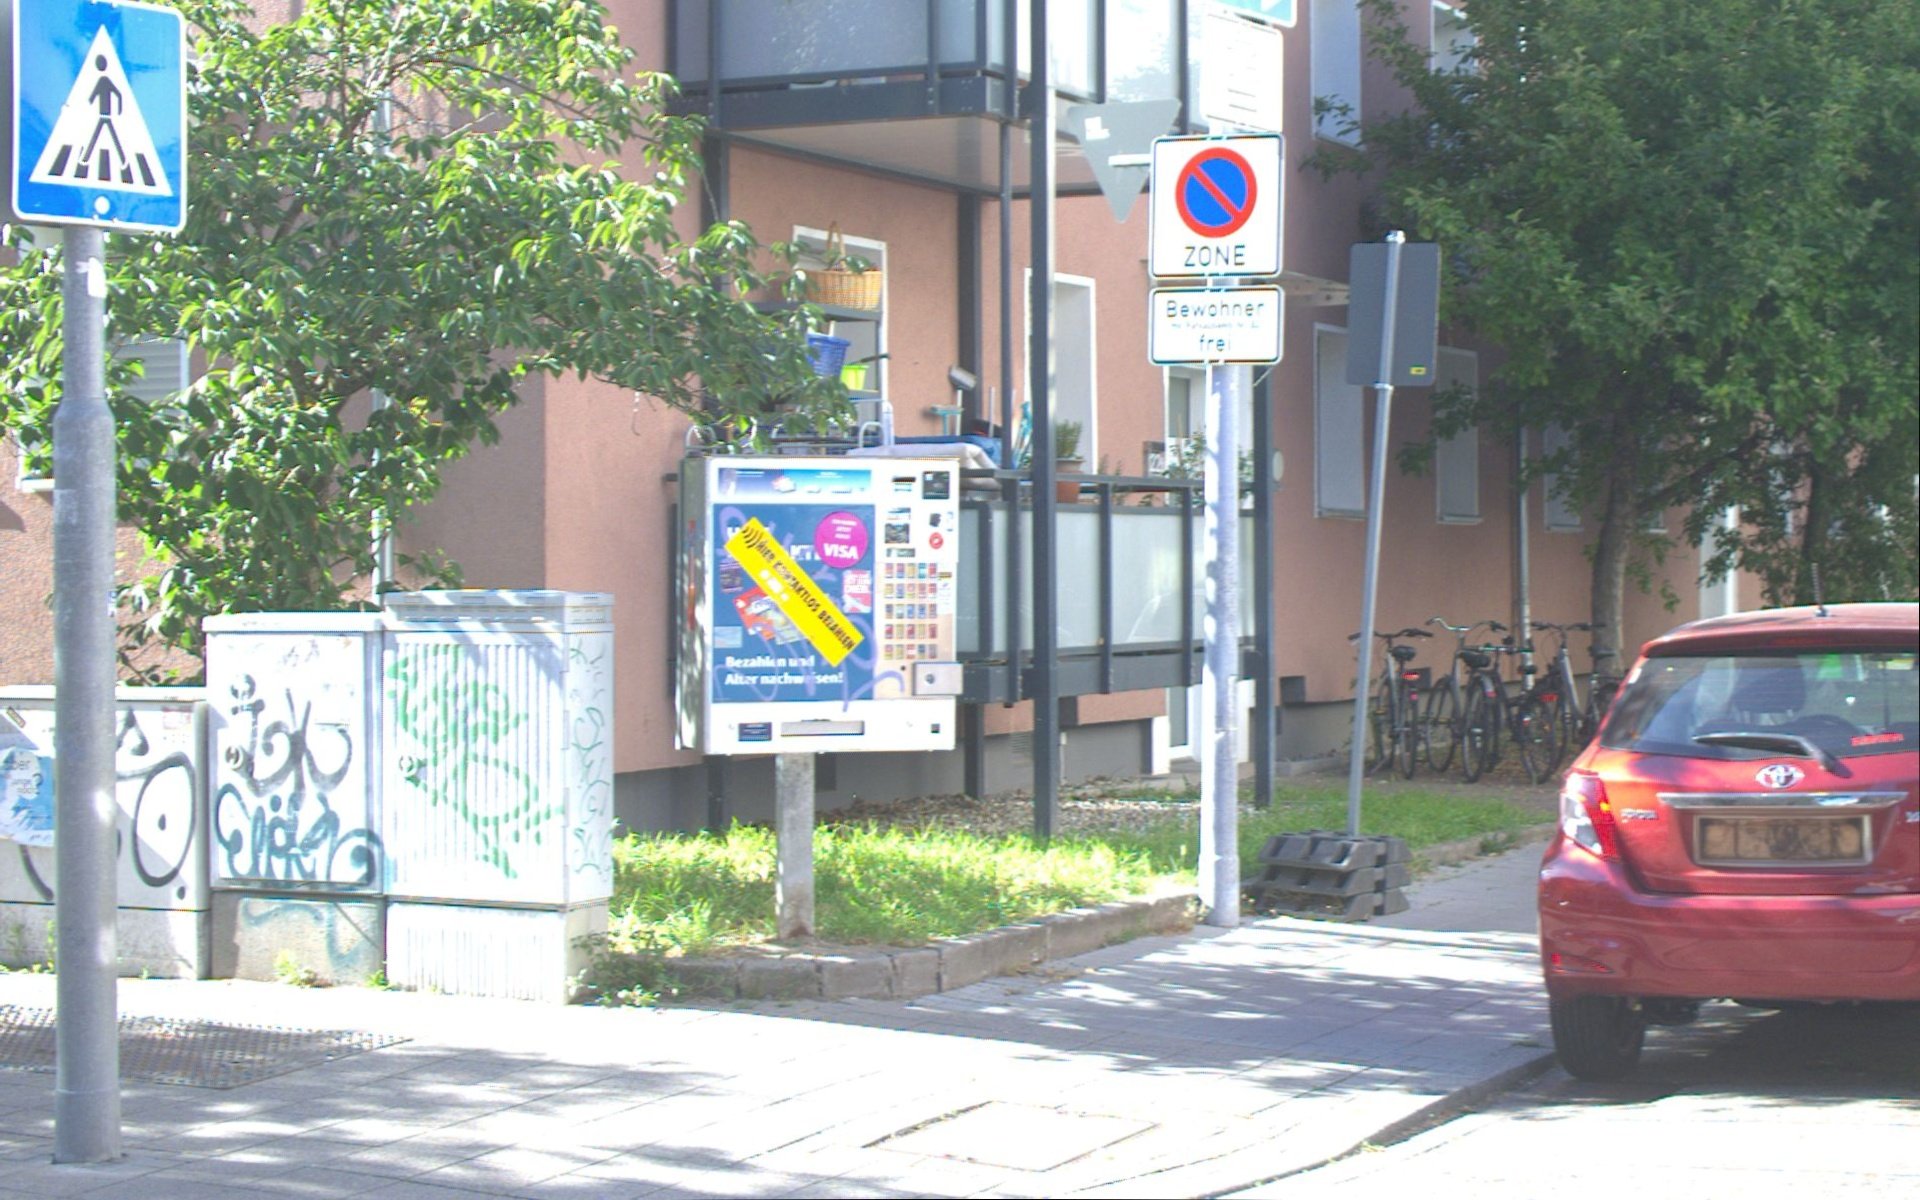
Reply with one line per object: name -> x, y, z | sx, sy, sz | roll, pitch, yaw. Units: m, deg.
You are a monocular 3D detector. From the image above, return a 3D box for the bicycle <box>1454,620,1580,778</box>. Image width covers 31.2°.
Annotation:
bicycle -> 3.926, 0.687, 24.271 | 0.252, 1.068, 1.217 | 0, 0, -24

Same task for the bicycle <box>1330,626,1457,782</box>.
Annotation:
bicycle -> 3.008, 0.710, 23.913 | 0.290, 1.032, 1.217 | 0, 1, -24

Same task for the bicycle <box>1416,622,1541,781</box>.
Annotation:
bicycle -> 3.631, 0.697, 24.150 | 0.252, 1.067, 1.217 | 0, 0, -24

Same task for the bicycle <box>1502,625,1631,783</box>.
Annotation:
bicycle -> 4.264, 0.718, 24.226 | 0.252, 1.068, 1.220 | 0, 0, -24

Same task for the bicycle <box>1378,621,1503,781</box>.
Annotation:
bicycle -> 3.350, 0.692, 24.033 | 0.265, 1.068, 1.217 | 0, 0, -24

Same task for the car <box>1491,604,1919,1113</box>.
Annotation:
car -> 3.291, 0.768, 12.078 | 1.687, 1.495, 3.801 | -1, 0, 27

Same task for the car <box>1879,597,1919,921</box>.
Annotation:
car -> 5.942, 0.733, 17.412 | 1.656, 1.495, 4.073 | 1, 0, 27
